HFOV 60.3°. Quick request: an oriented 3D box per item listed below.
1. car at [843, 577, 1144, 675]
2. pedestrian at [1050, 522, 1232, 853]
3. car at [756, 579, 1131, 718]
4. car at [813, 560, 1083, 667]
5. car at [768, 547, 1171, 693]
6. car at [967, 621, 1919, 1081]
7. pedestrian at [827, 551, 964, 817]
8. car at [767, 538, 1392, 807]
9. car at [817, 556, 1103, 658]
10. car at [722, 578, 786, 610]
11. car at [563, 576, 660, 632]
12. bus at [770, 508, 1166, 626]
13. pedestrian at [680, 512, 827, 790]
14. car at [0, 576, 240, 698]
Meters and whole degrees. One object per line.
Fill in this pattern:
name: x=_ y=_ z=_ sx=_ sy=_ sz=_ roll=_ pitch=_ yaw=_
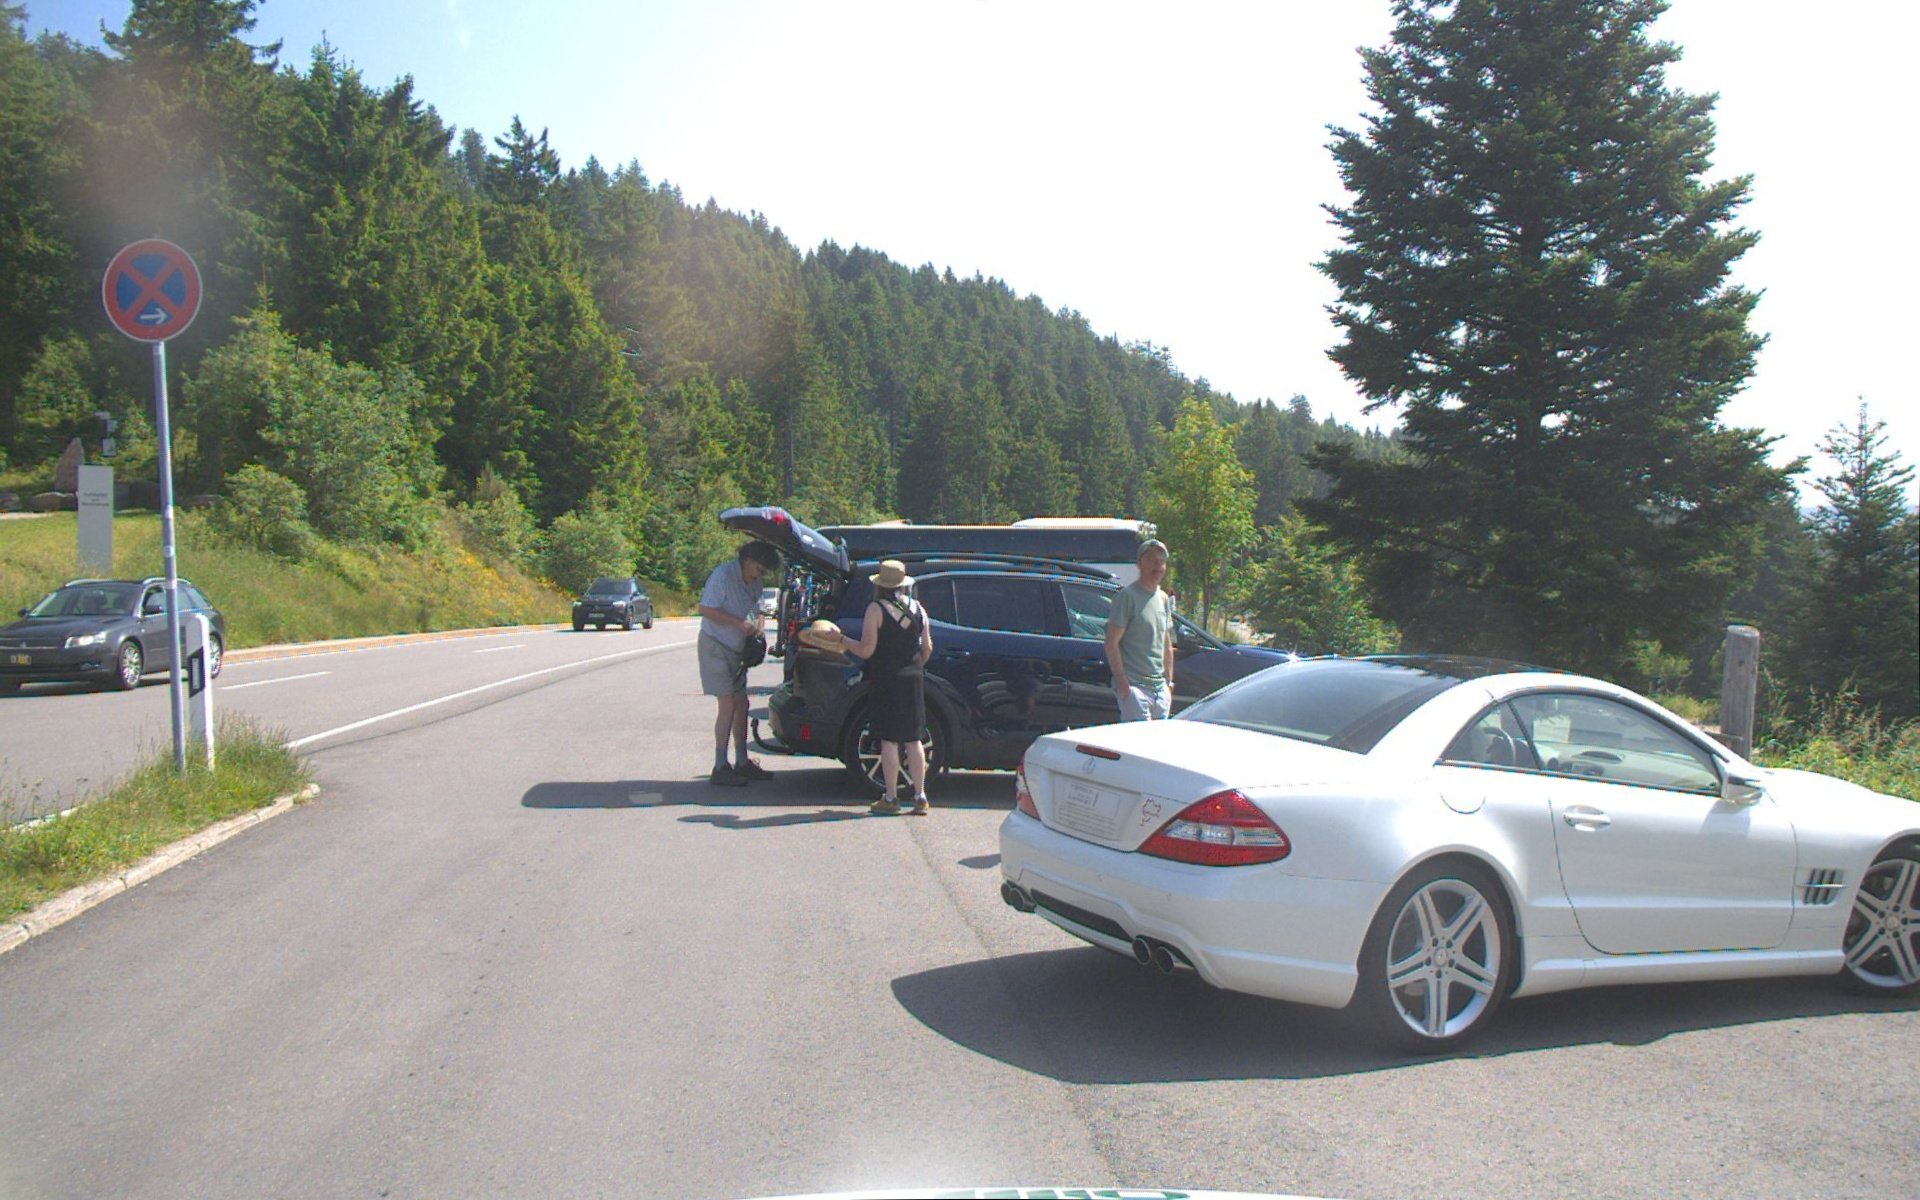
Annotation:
car: x=0.430 y=0.341 z=23.840 sx=4.159 sy=1.291 sz=1.837 roll=-1 pitch=1 yaw=-3
pedestrian: x=1.054 y=0.486 z=9.674 sx=0.740 sy=1.831 sz=0.727 roll=2 pitch=-1 yaw=-35
car: x=-0.240 y=0.530 z=18.688 sx=4.007 sy=1.400 sz=1.698 roll=2 pitch=0 yaw=-10
car: x=-0.214 y=0.196 z=26.488 sx=4.159 sy=1.581 sz=1.837 roll=-1 pitch=1 yaw=-3
car: x=0.109 y=0.222 z=20.931 sx=4.848 sy=1.725 sz=1.945 roll=0 pitch=1 yaw=-1
car: x=2.366 y=0.847 z=6.791 sx=4.344 sy=1.318 sz=1.741 roll=2 pitch=1 yaw=-27
pedestrian: x=-0.417 y=0.525 z=10.617 sx=0.704 sy=1.641 sz=0.533 roll=1 pitch=-1 yaw=-24
car: x=0.775 y=0.520 z=12.245 sx=4.263 sy=1.654 sz=1.866 roll=3 pitch=-1 yaw=-9
car: x=-0.036 y=0.099 z=29.618 sx=4.934 sy=1.680 sz=2.047 roll=-1 pitch=1 yaw=-3
car: x=-9.944 y=-0.316 z=80.271 sx=1.839 sy=1.500 sz=4.718 roll=0 pitch=1 yaw=9
car: x=-11.174 y=0.081 z=53.377 sx=1.952 sy=1.676 sz=4.569 roll=-1 pitch=1 yaw=2
bus: x=0.353 y=-1.052 z=54.852 sx=12.815 sy=3.594 sz=3.046 roll=-1 pitch=1 yaw=7
pedestrian: x=-1.485 y=0.333 z=11.912 sx=0.721 sy=1.903 sz=0.757 roll=3 pitch=3 yaw=27
car: x=-11.502 y=0.431 z=22.514 sx=1.672 sy=1.463 sz=4.447 roll=-1 pitch=1 yaw=-4
